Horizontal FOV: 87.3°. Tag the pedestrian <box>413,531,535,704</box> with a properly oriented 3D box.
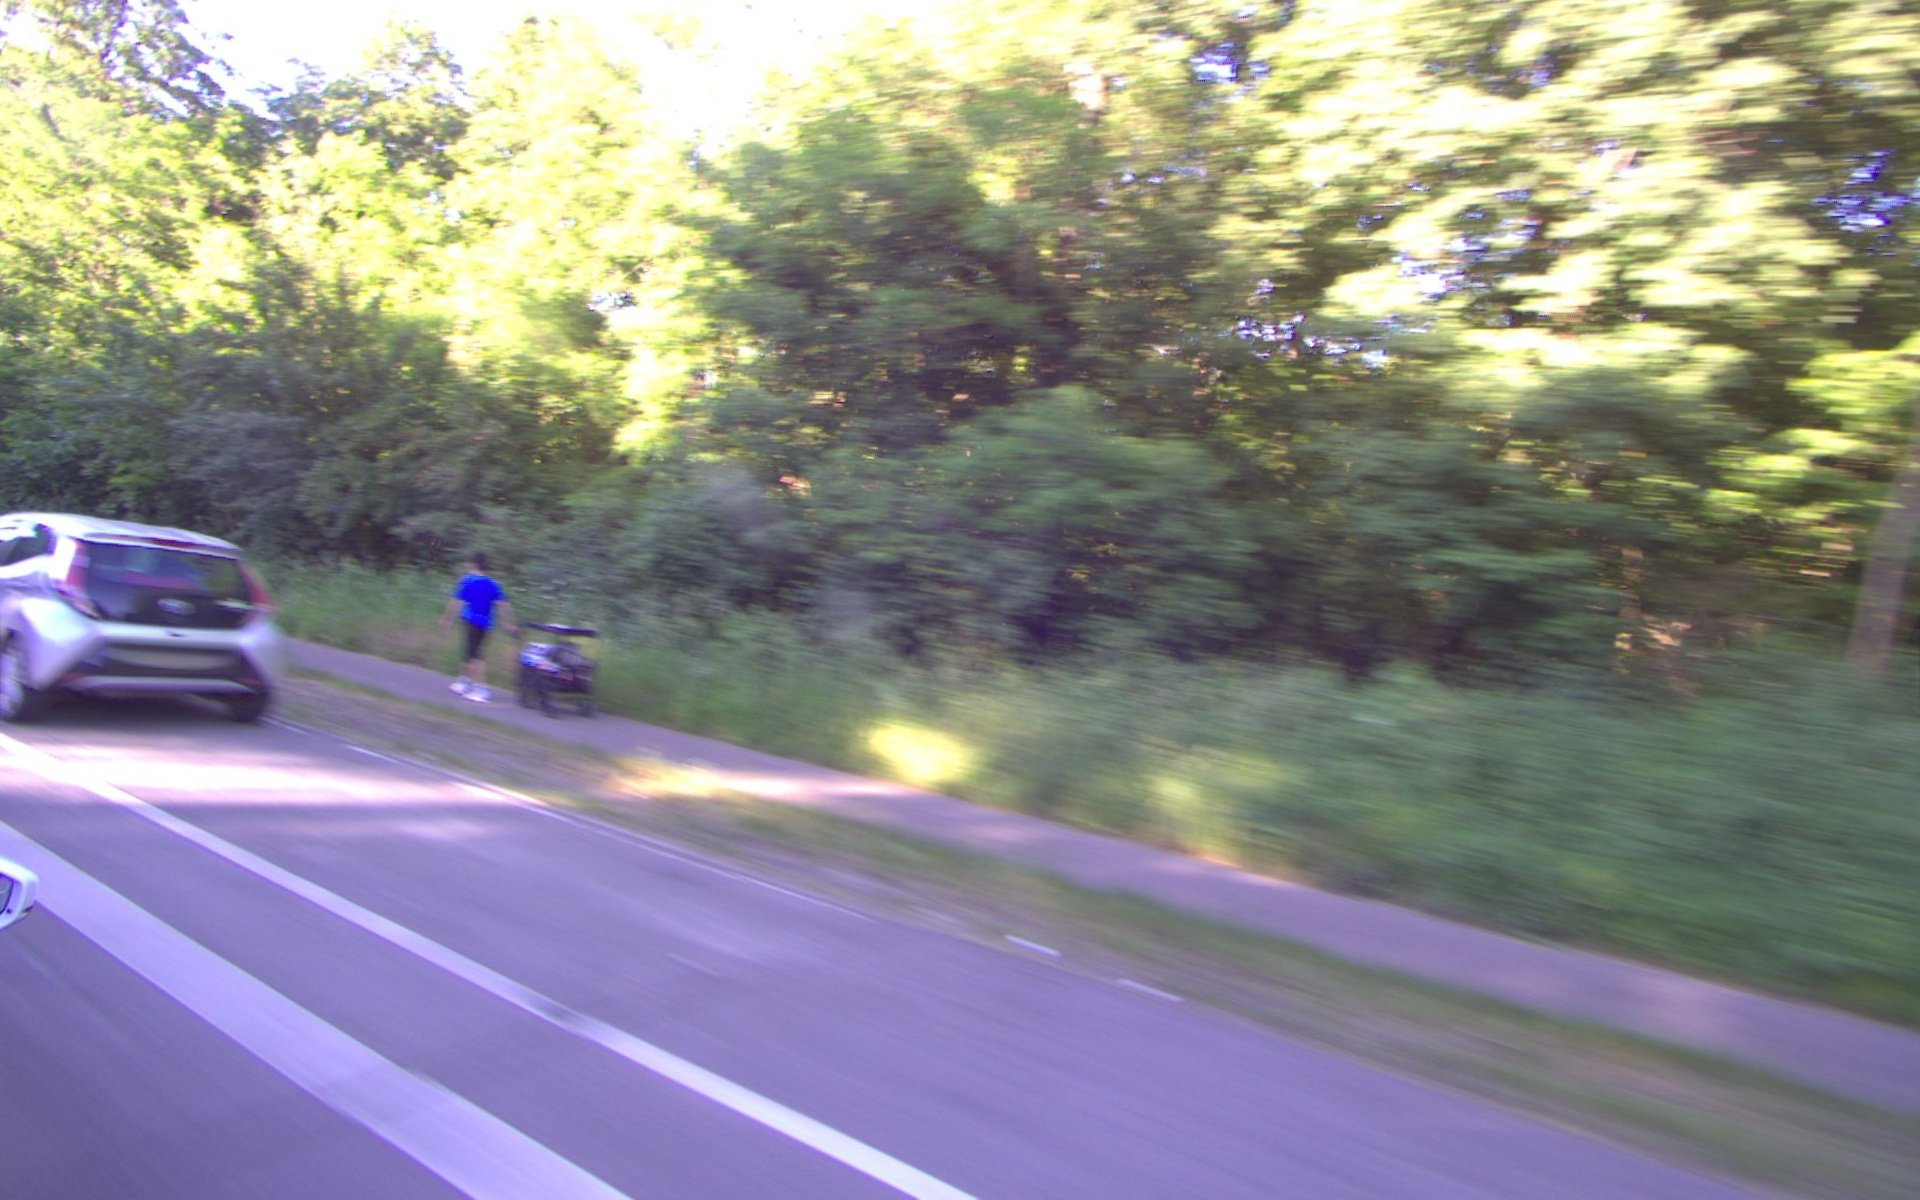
[{"bbox_3d":[-5.836,0.219,12.090,0.904,1.941,0.769,7,0,32],"label":"pedestrian"}]

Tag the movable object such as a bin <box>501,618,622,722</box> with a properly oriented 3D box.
[{"bbox_3d":[-4.637,0.810,11.708,0.970,1.060,0.790,7,0,32],"label":"movable object such as a bin"}]

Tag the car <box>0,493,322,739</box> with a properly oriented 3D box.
[{"bbox_3d":[-7.266,0.025,8.309,3.956,1.562,1.716,7,-3,33],"label":"car"}]
